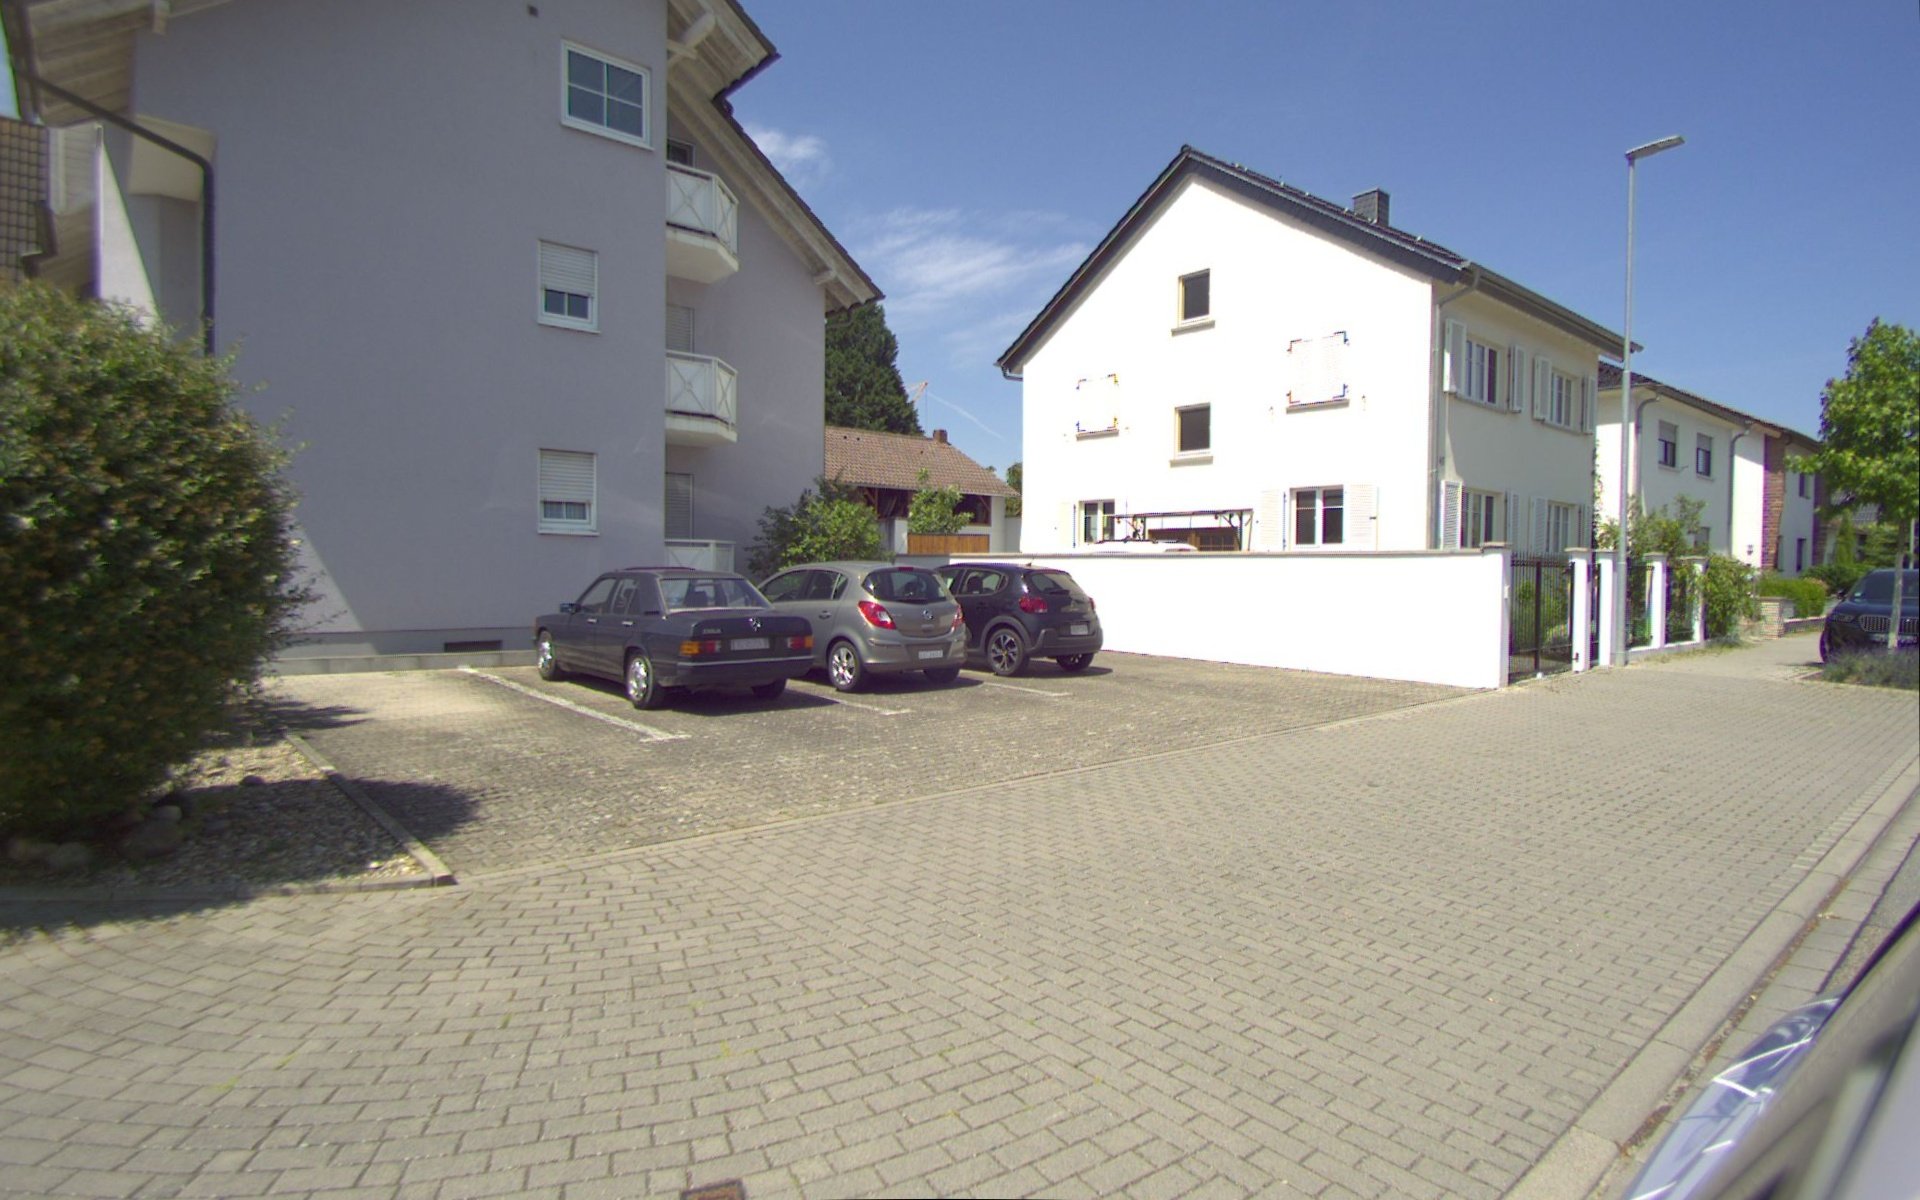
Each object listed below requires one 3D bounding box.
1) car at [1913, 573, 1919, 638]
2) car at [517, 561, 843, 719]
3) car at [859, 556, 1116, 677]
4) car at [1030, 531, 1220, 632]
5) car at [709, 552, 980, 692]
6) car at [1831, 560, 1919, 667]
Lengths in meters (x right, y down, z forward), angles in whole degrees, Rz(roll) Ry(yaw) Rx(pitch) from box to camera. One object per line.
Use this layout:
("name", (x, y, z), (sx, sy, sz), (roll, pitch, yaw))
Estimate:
("car", (23.591, 0.119, 23.413), (4.021, 1.437, 1.818), (-1, 2, -41))
("car", (-3.208, 0.282, 11.046), (1.637, 1.391, 4.205), (-1, 2, -44))
("car", (0.315, 0.138, 14.510), (3.500, 1.515, 1.638), (2, 2, 43))
("car", (3.224, -0.402, 20.186), (1.741, 1.834, 3.391), (-1, 2, -42))
("car", (-1.538, 0.169, 12.724), (1.637, 1.513, 3.447), (-1, 2, -44))
("car", (16.608, 0.190, 17.396), (4.484, 1.677, 1.818), (-1, 2, -41))
